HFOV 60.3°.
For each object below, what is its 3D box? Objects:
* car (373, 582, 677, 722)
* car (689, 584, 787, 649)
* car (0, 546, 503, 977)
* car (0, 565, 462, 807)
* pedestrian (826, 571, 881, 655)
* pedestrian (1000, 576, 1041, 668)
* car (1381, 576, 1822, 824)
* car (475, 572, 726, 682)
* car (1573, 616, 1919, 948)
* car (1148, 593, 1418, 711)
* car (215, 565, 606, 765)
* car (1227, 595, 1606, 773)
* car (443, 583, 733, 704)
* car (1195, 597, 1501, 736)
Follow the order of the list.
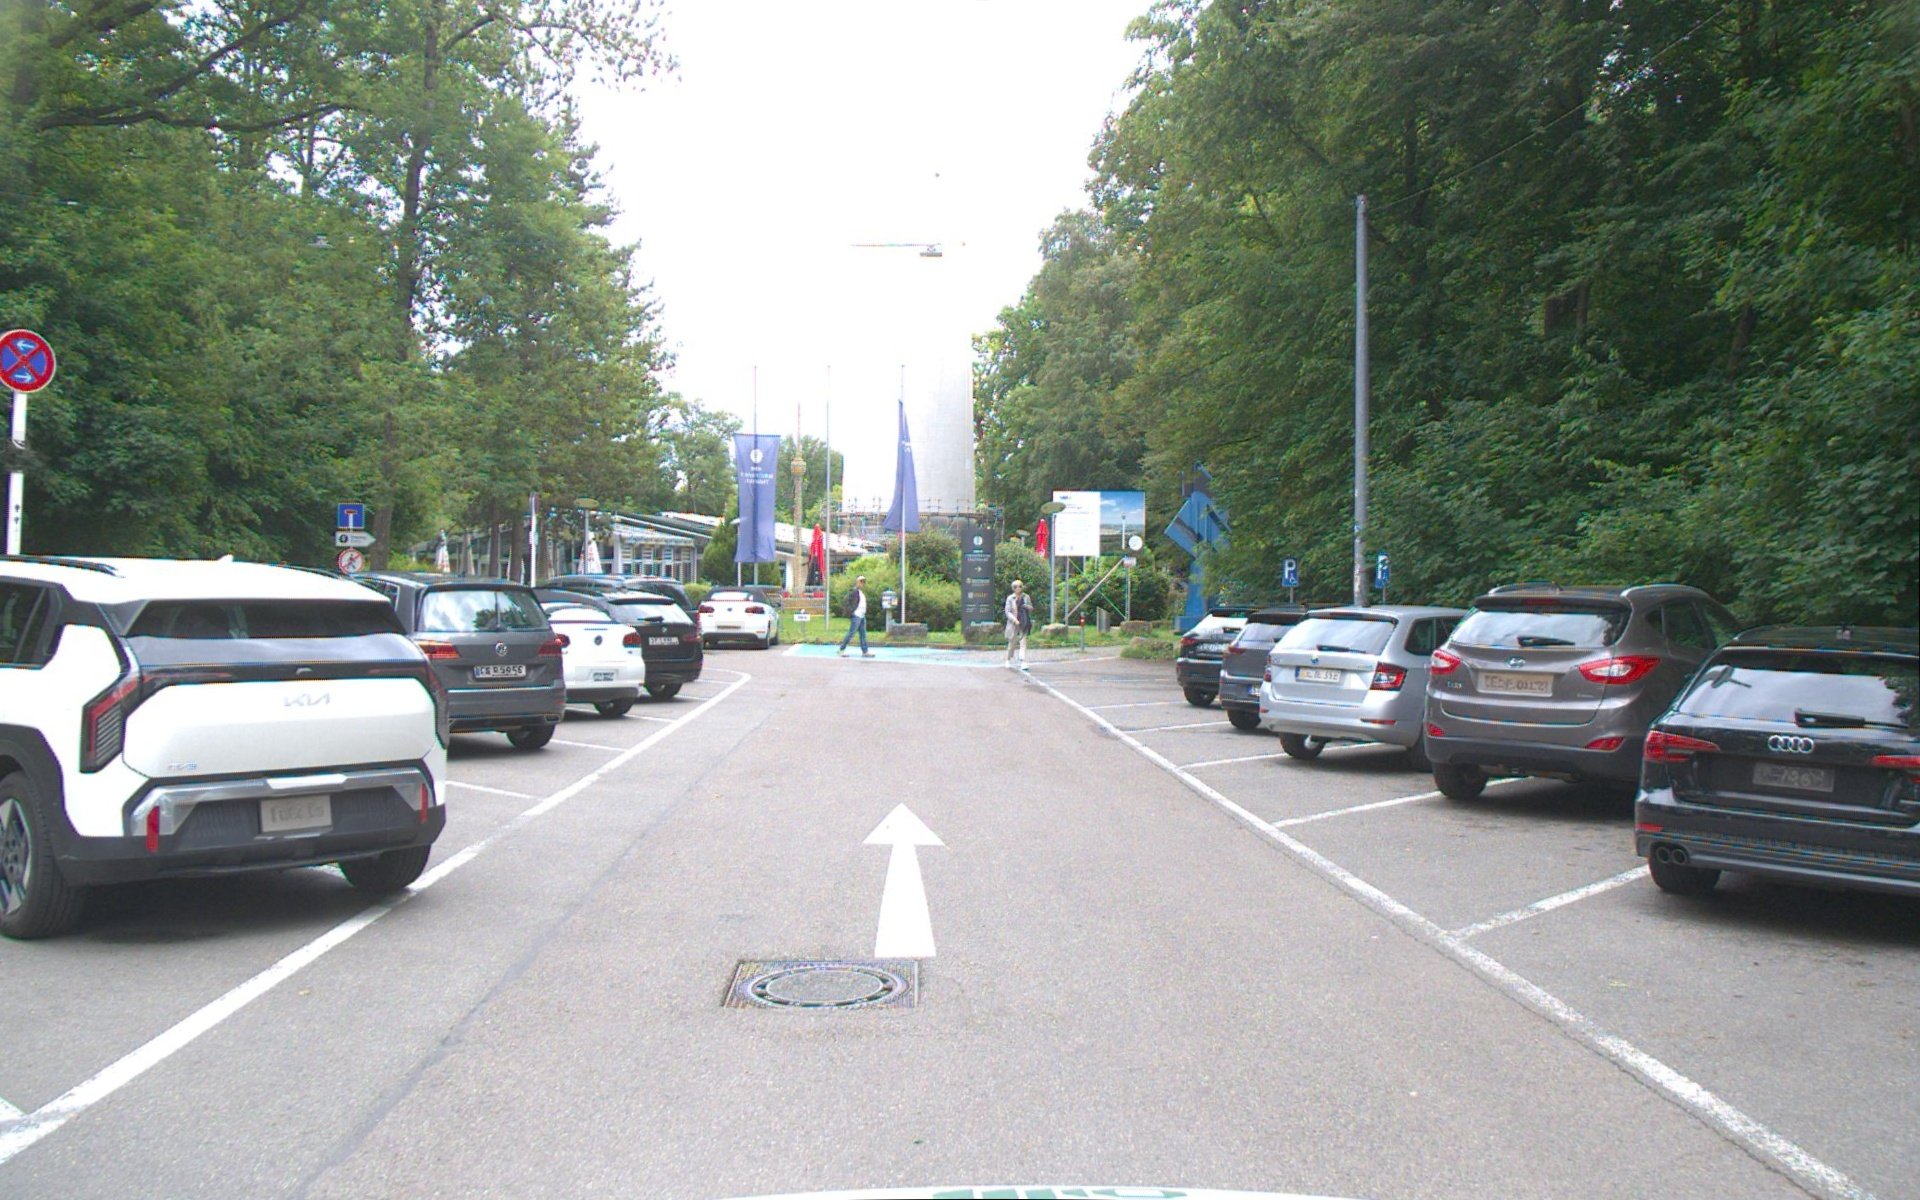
[{"bbox_3d":[-5.202,0.545,19.551,3.780,1.468,1.761,1,0,43],"label":"car"},{"bbox_3d":[-5.265,0.352,39.628,1.854,1.453,3.999,1,1,-1],"label":"car"},{"bbox_3d":[-4.259,0.578,8.284,4.113,1.624,1.837,1,1,41],"label":"car"},{"bbox_3d":[-5.849,0.538,12.789,3.920,1.581,1.866,1,1,36],"label":"car"},{"bbox_3d":[-2.283,0.269,35.395,0.877,1.755,0.762,1,0,31],"label":"pedestrian"},{"bbox_3d":[1.165,0.419,32.217,0.746,1.755,0.897,1,0,0],"label":"pedestrian"},{"bbox_3d":[5.304,0.671,13.370,1.931,1.665,4.236,1,0,43],"label":"car"},{"bbox_3d":[-5.894,0.380,26.859,4.309,1.637,1.819,1,0,42],"label":"car"},{"bbox_3d":[5.151,0.819,9.224,1.929,1.401,4.239,1,0,40],"label":"car"},{"bbox_3d":[4.680,0.684,23.589,1.866,1.488,4.177,1,0,43],"label":"car"},{"bbox_3d":[-5.225,0.499,15.505,3.907,1.614,1.836,1,1,43],"label":"car"},{"bbox_3d":[4.560,0.711,16.223,3.968,1.492,1.806,0,1,-43],"label":"car"},{"bbox_3d":[-5.168,0.532,22.686,4.201,1.468,1.750,1,0,41],"label":"car"},{"bbox_3d":[4.695,0.715,19.680,1.876,1.447,3.975,1,1,42],"label":"car"}]
